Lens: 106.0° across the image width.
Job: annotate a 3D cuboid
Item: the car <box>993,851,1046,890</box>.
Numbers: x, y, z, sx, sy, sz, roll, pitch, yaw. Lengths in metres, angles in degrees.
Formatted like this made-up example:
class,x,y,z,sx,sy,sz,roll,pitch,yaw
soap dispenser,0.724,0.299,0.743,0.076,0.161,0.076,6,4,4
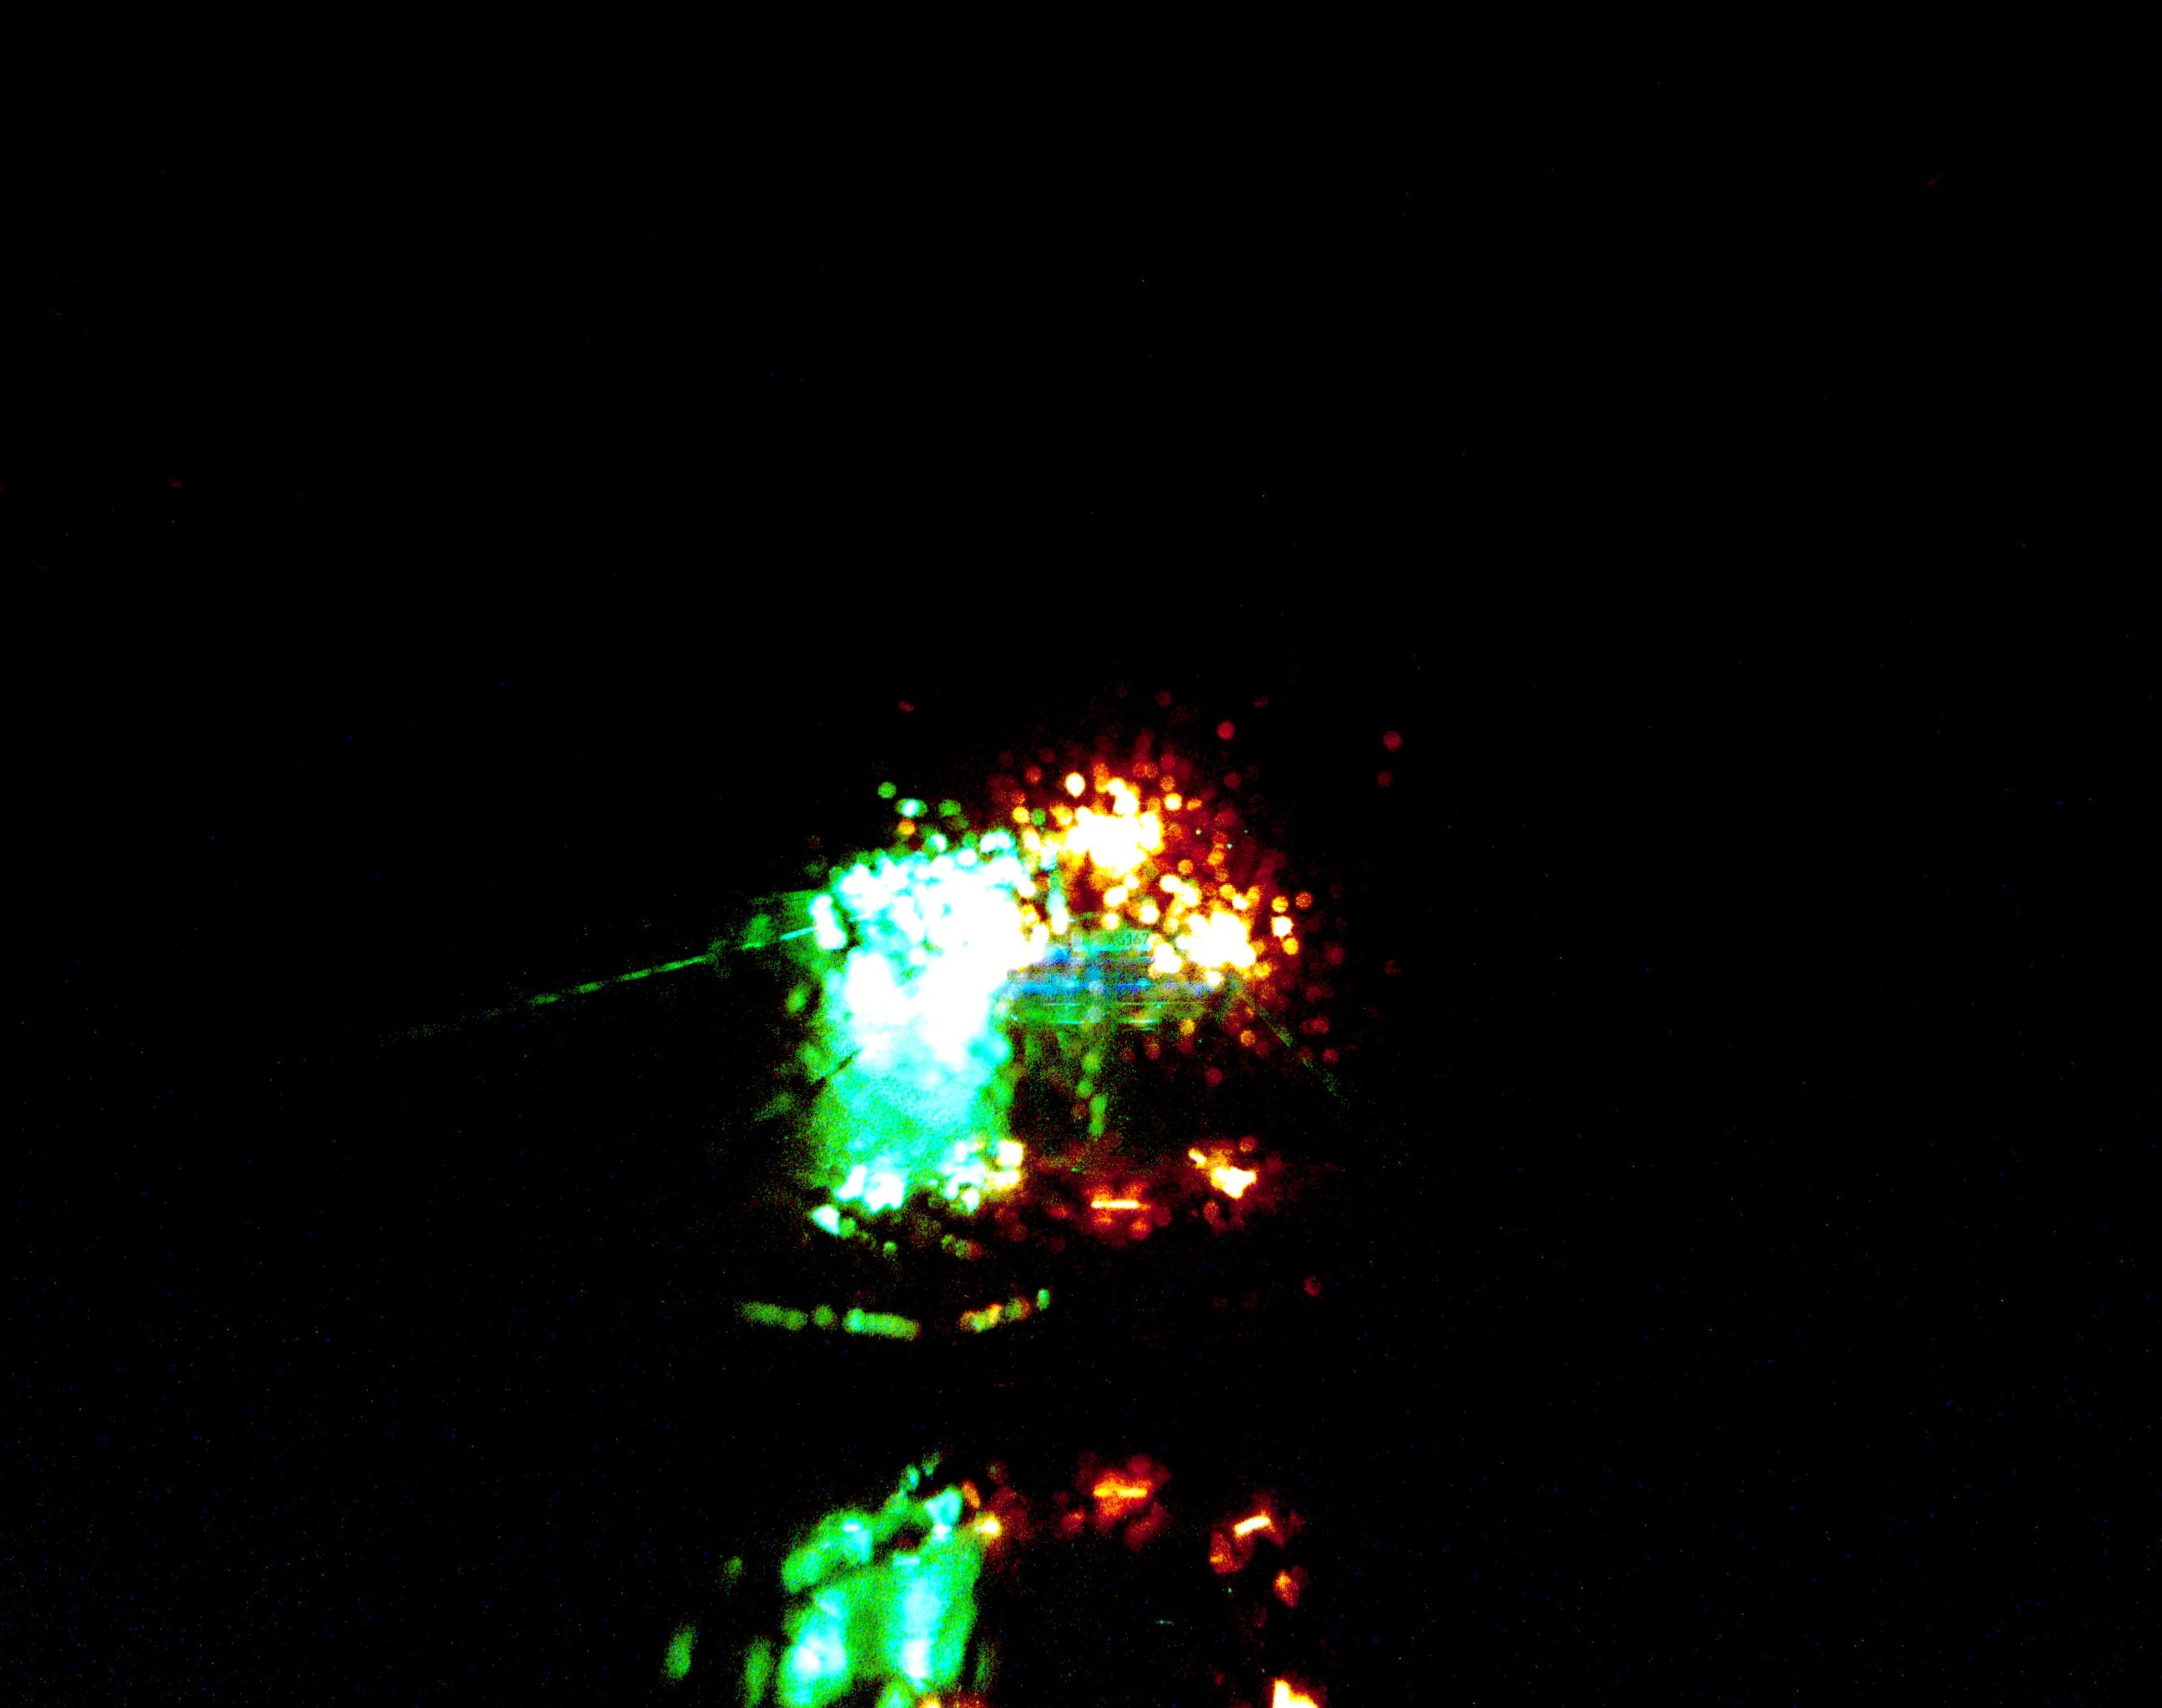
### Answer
class,x,y,z,sx,sy,sz,roll,pitch,yaw
car,-2.571,0.653,34.989,1.831,1.546,4.258,0,0,1

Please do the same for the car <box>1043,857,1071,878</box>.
class,x,y,z,sx,sy,sz,roll,pitch,yaw
car,-1.783,1.016,61.836,1.897,1.470,4.275,1,0,1

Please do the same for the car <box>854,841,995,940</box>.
class,x,y,z,sx,sy,sz,roll,pitch,yaw
car,-2.957,0.636,16.337,1.945,1.656,4.124,-2,0,0

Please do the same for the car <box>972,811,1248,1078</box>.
class,x,y,z,sx,sy,sz,roll,pitch,yaw
car,0.264,0.603,7.274,1.768,1.712,4.002,-1,0,2
